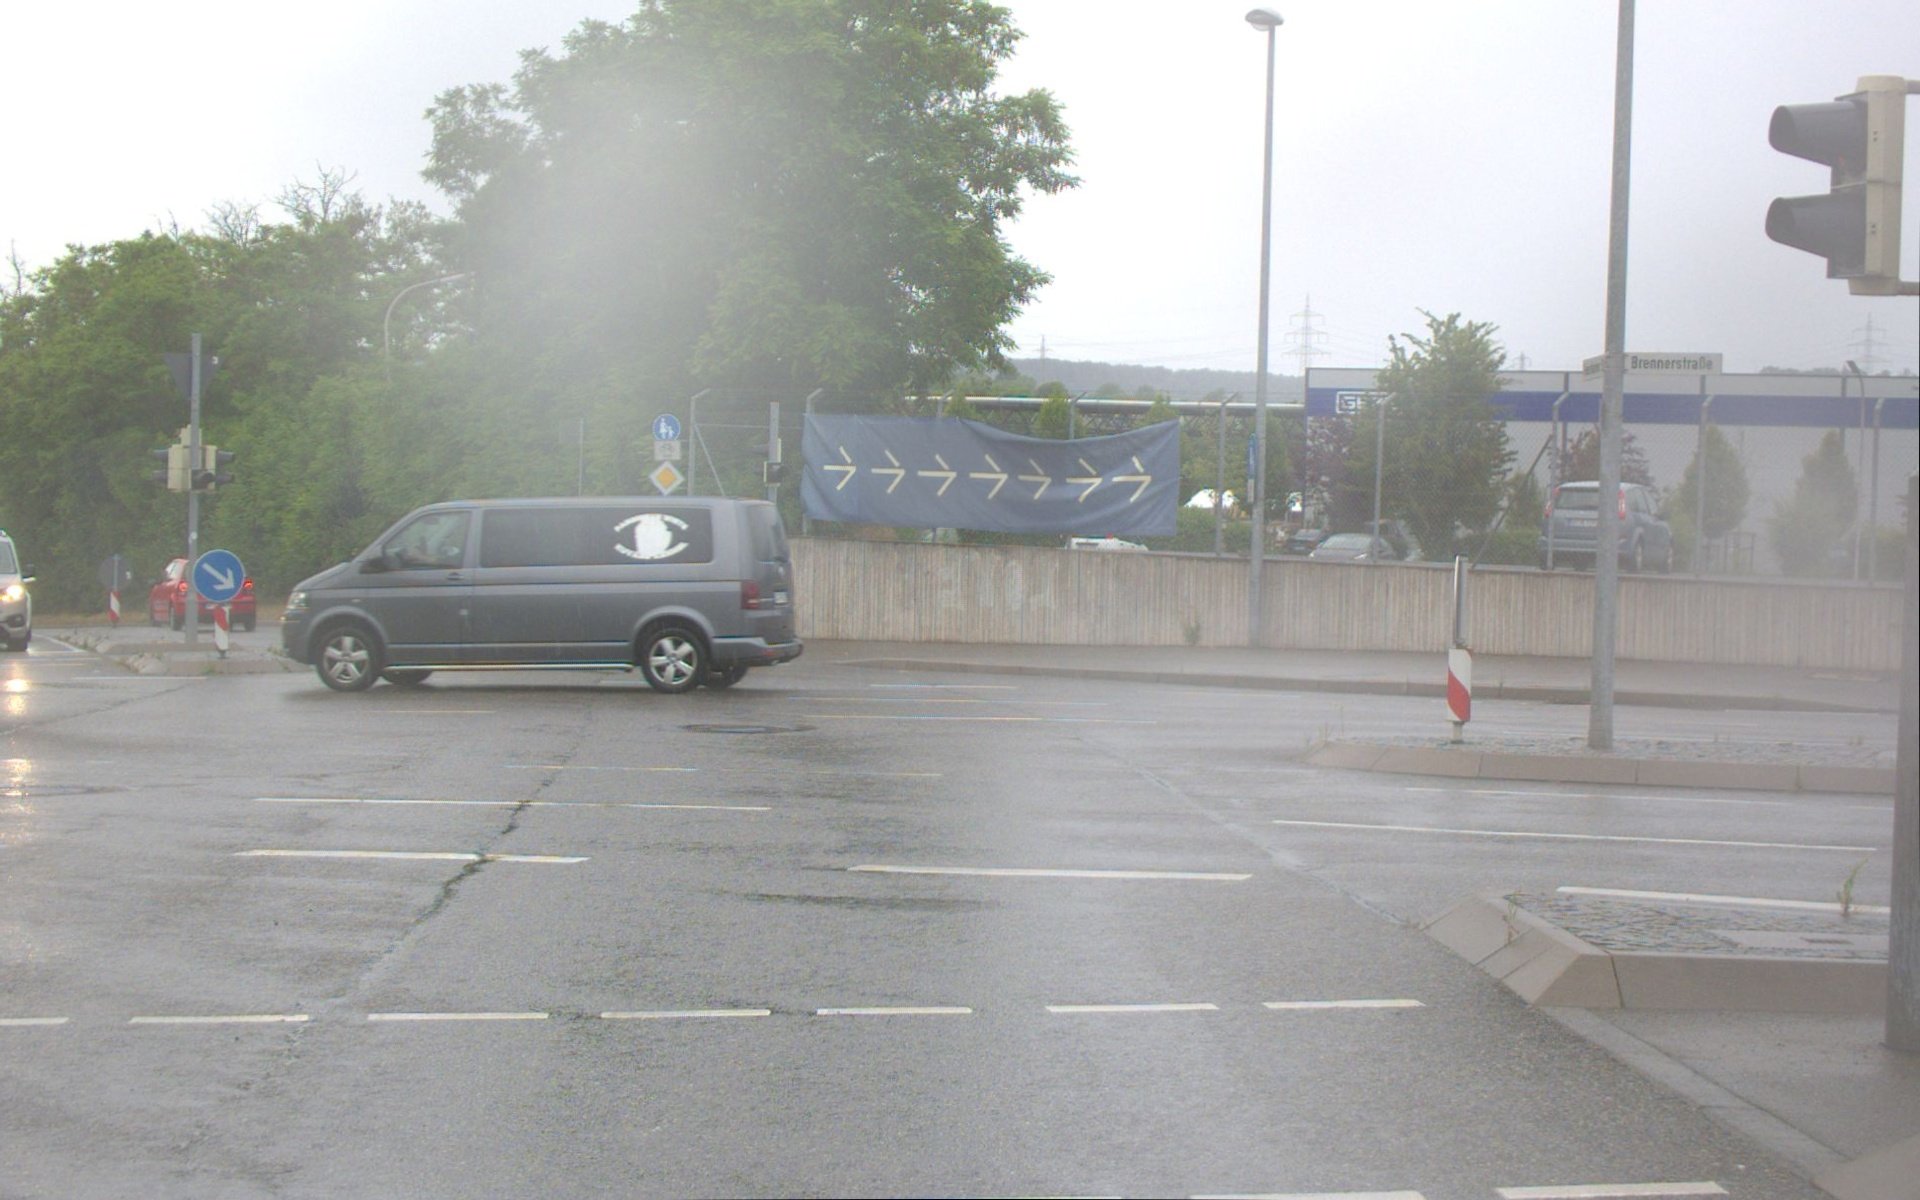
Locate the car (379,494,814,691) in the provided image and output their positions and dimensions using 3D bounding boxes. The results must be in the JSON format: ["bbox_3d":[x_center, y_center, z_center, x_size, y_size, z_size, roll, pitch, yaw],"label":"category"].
[{"bbox_3d":[-3.651,-0.107,34.943,3.988,1.842,1.999,2,1,9],"label":"car"}]

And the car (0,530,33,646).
[{"bbox_3d":[-14.923,-0.223,51.384,1.993,1.612,4.002,1,2,-14],"label":"car"}]

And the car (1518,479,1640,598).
[{"bbox_3d":[11.050,-1.101,61.224,1.994,2.007,3.998,1,1,12],"label":"car"}]

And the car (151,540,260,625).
[{"bbox_3d":[-14.911,-0.361,67.837,1.614,1.443,3.808,2,2,-19],"label":"car"}]
